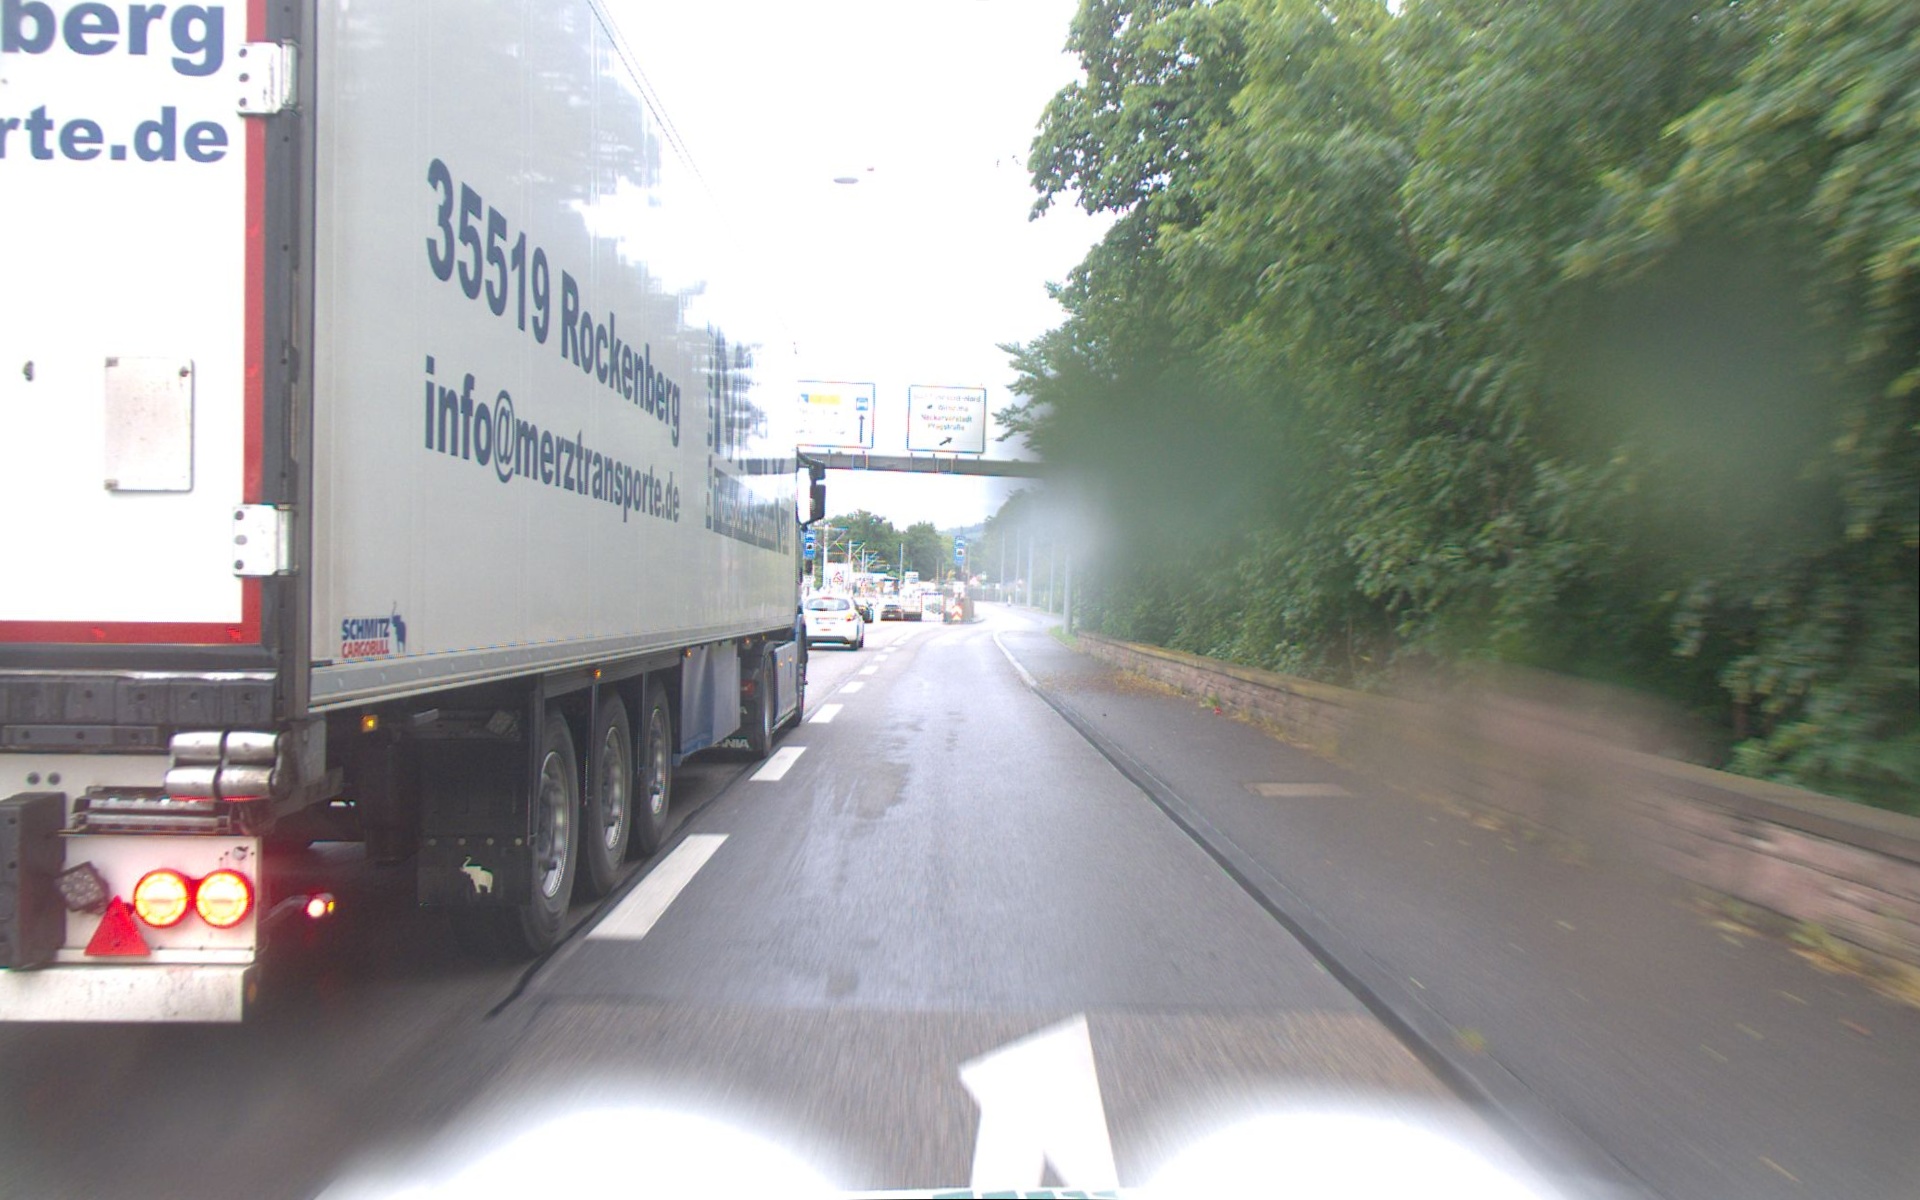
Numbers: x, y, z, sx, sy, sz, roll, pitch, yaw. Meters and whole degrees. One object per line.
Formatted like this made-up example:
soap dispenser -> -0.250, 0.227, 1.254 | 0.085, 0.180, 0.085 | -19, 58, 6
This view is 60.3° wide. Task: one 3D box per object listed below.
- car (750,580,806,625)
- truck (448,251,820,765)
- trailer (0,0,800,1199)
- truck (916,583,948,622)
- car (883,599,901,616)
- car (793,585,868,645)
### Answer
car -> -6.637, 0.067, 60.575 | 1.647, 1.471, 4.000 | 1, 2, -1
truck -> -2.990, -0.789, 16.986 | 2.700, 4.278, 6.305 | 0, 0, -1
trailer -> -2.880, -0.687, 10.074 | 2.706, 4.327, 13.181 | 0, 0, -1
truck -> -3.114, 0.278, 184.672 | 3.447, 4.110, 8.072 | 1, 0, -1
car -> -5.497, 0.599, 133.622 | 1.397, 1.378, 2.960 | 1, 0, -1
car -> -3.504, 0.383, 45.175 | 1.773, 1.448, 4.000 | 1, 2, -1
